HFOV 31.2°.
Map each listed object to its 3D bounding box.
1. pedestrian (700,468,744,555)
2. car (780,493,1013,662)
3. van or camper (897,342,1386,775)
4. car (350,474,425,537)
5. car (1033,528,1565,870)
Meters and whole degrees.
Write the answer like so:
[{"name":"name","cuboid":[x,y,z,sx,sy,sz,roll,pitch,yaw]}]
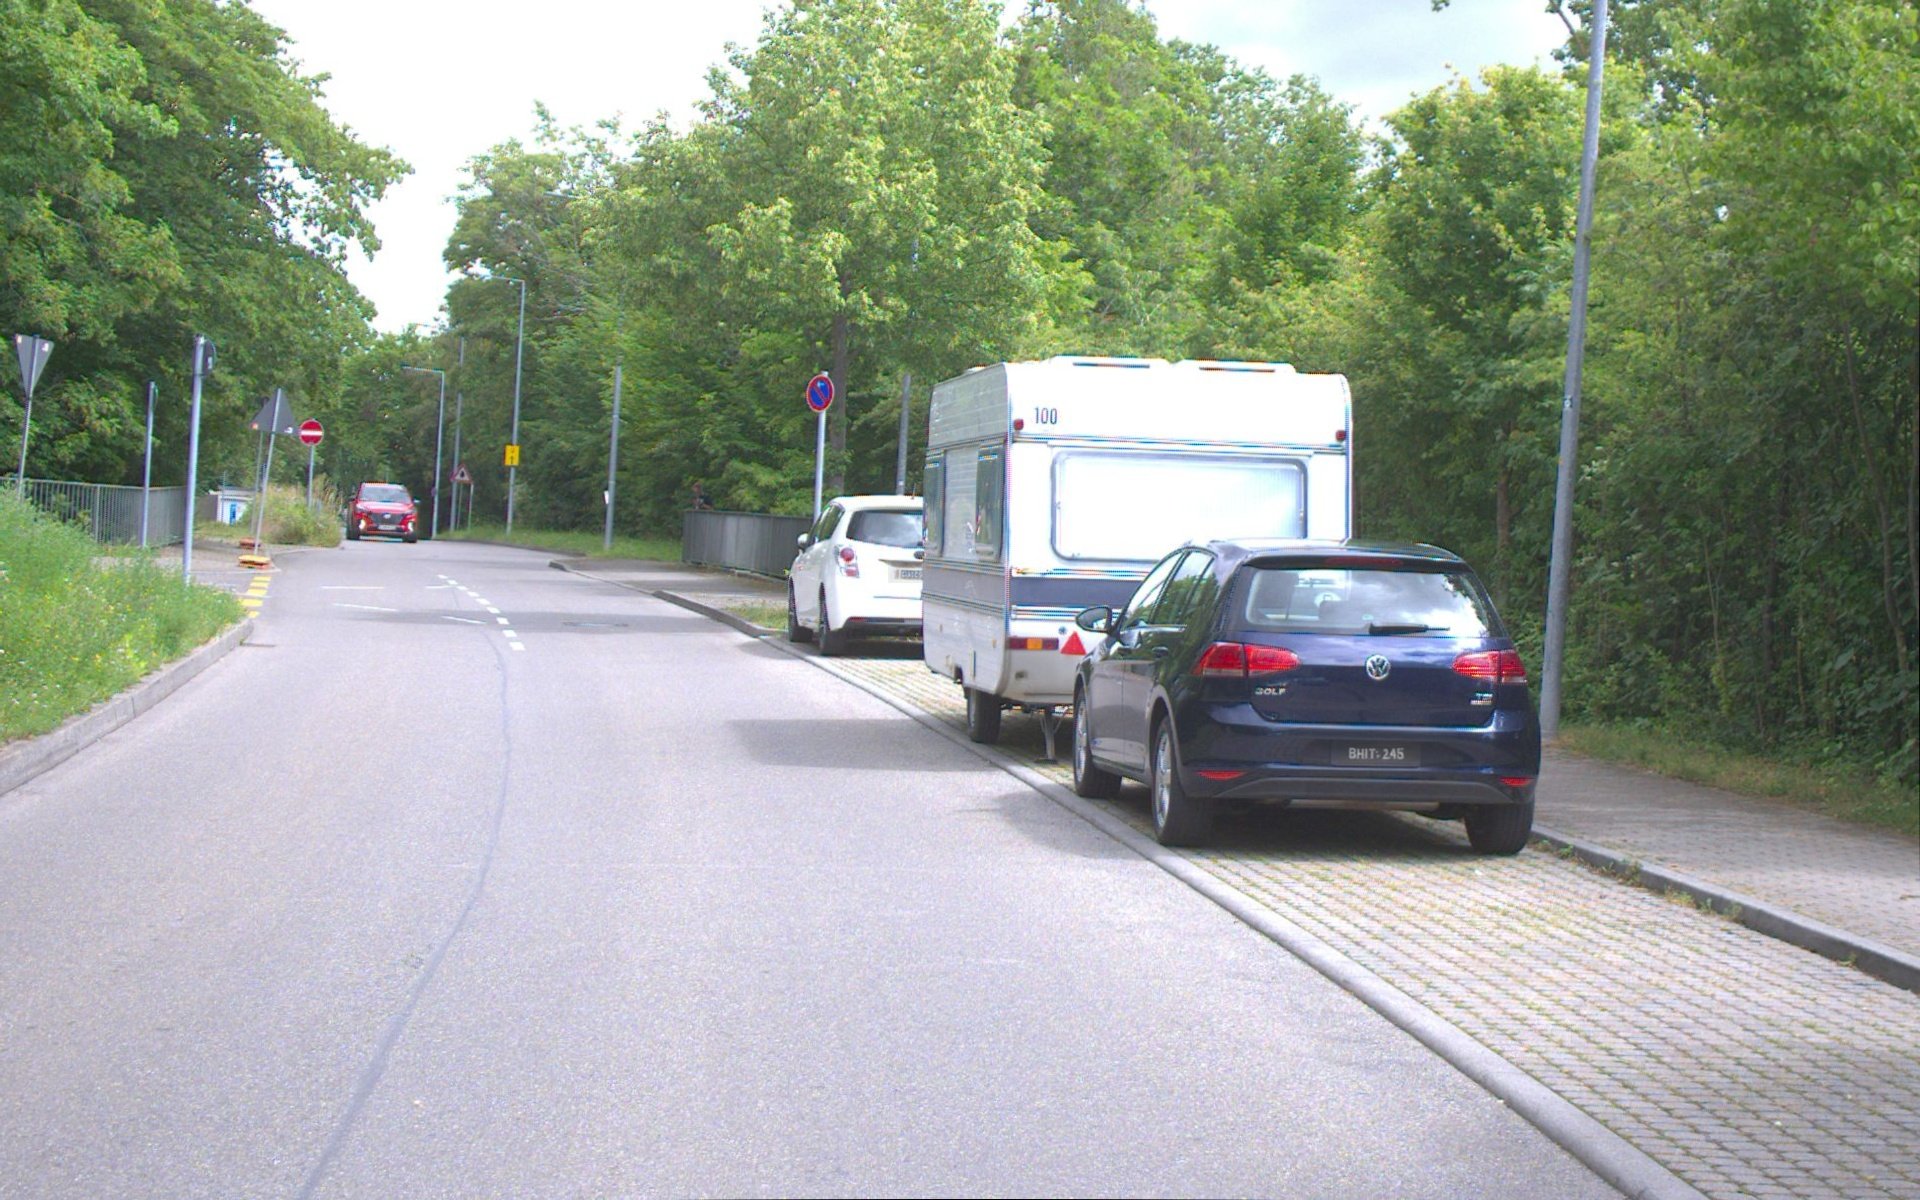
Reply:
[{"name":"pedestrian","cuboid":[-5.019,-1.857,72.570,0.587,1.777,0.681,2,-1,22]},{"name":"car","cuboid":[-0.730,-0.284,35.972,1.804,1.594,4.373,1,2,-9]},{"name":"van or camper","cuboid":[1.051,-0.304,23.177,2.354,2.545,5.076,1,1,-7]},{"name":"car","cuboid":[-16.437,-2.729,98.579,1.842,1.653,4.223,2,2,-12]},{"name":"car","cuboid":[1.571,0.400,17.595,1.681,1.446,4.481,2,1,-7]}]
